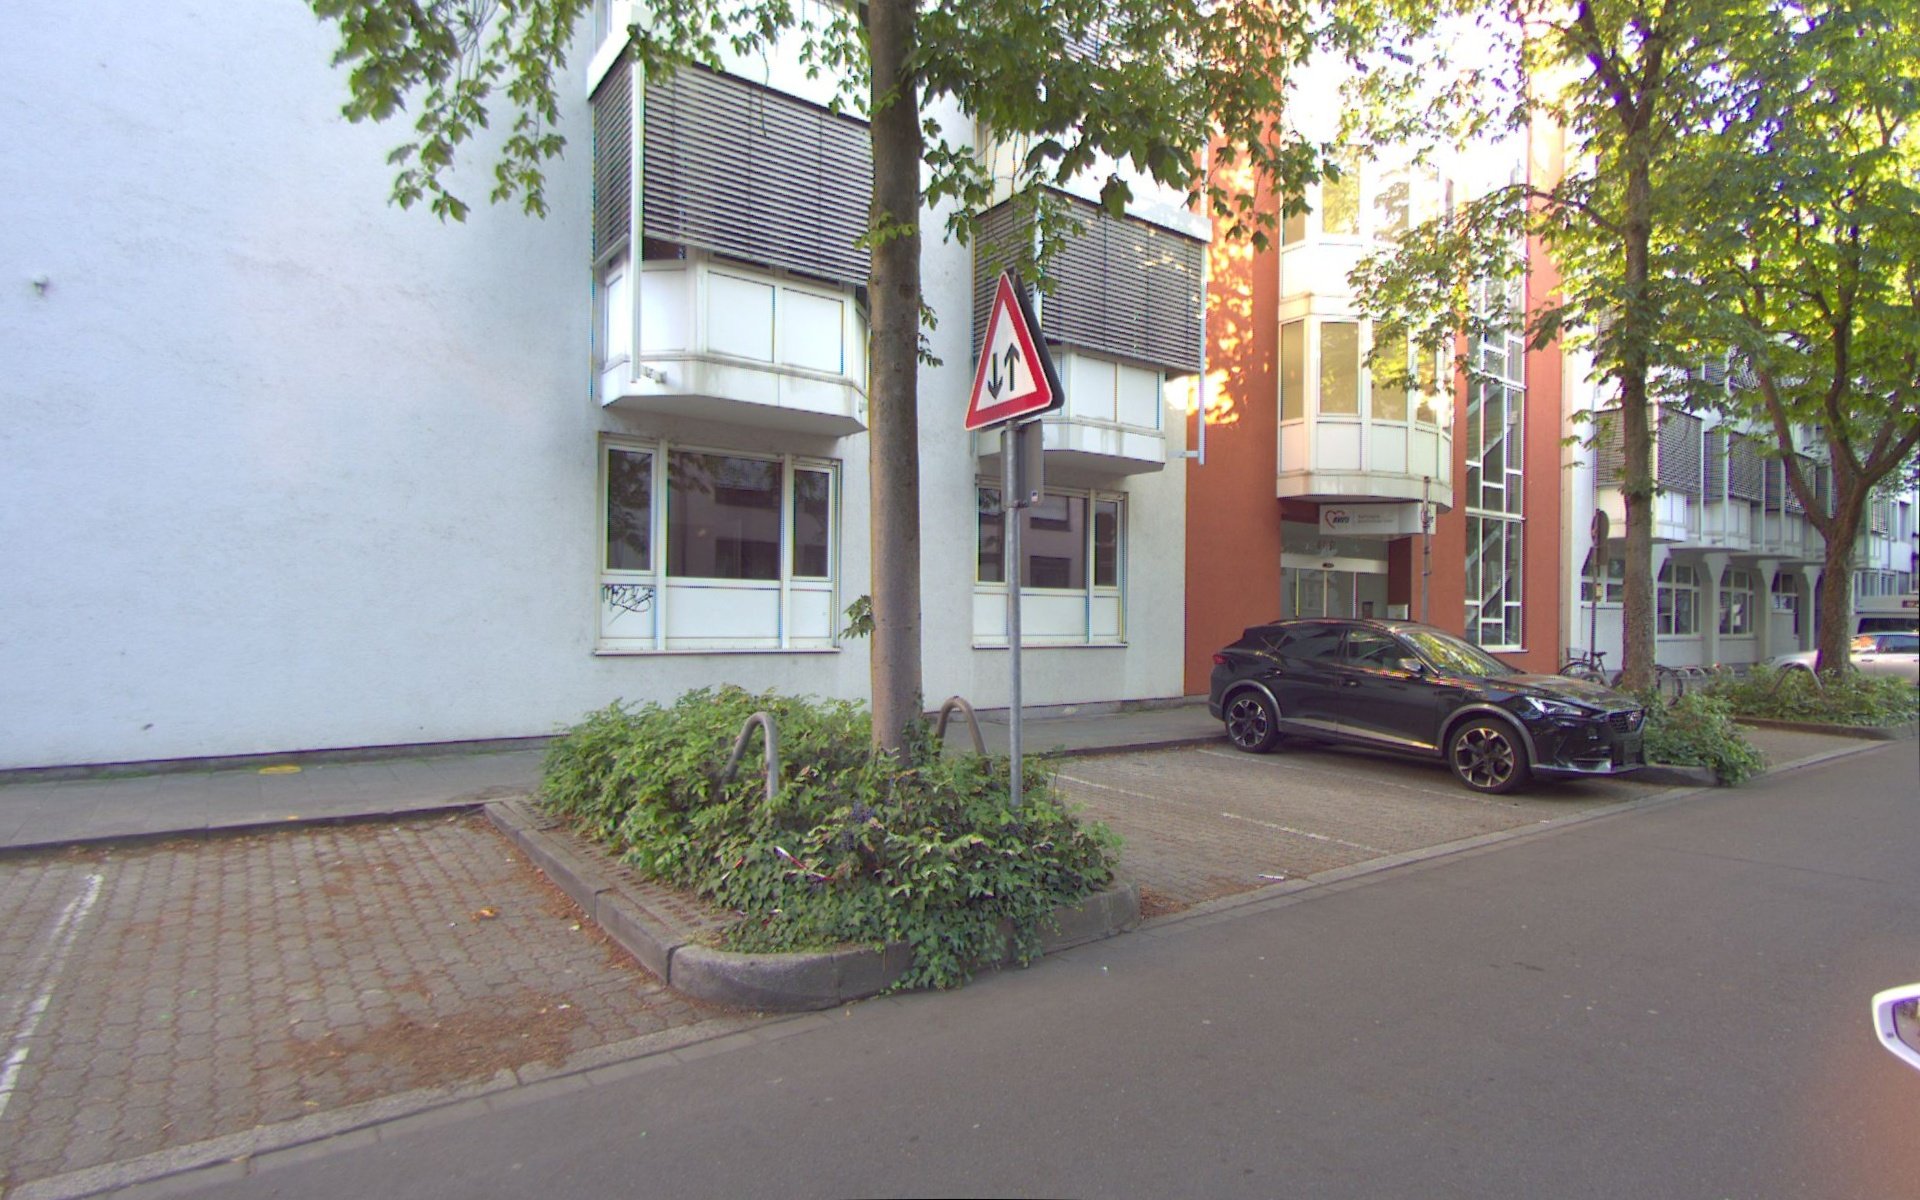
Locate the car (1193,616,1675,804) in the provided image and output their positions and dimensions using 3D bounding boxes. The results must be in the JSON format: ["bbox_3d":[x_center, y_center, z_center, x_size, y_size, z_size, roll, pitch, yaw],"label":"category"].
[{"bbox_3d":[4.716,0.954,10.620,1.768,1.537,4.325,1,-1,-35],"label":"car"}]

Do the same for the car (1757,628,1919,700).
[{"bbox_3d":[21.160,1.437,23.247,1.767,1.537,3.942,1,-1,-35],"label":"car"}]

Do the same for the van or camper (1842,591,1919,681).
[{"bbox_3d":[27.900,1.027,28.048,1.981,2.511,4.632,1,-1,-36],"label":"van or camper"}]
